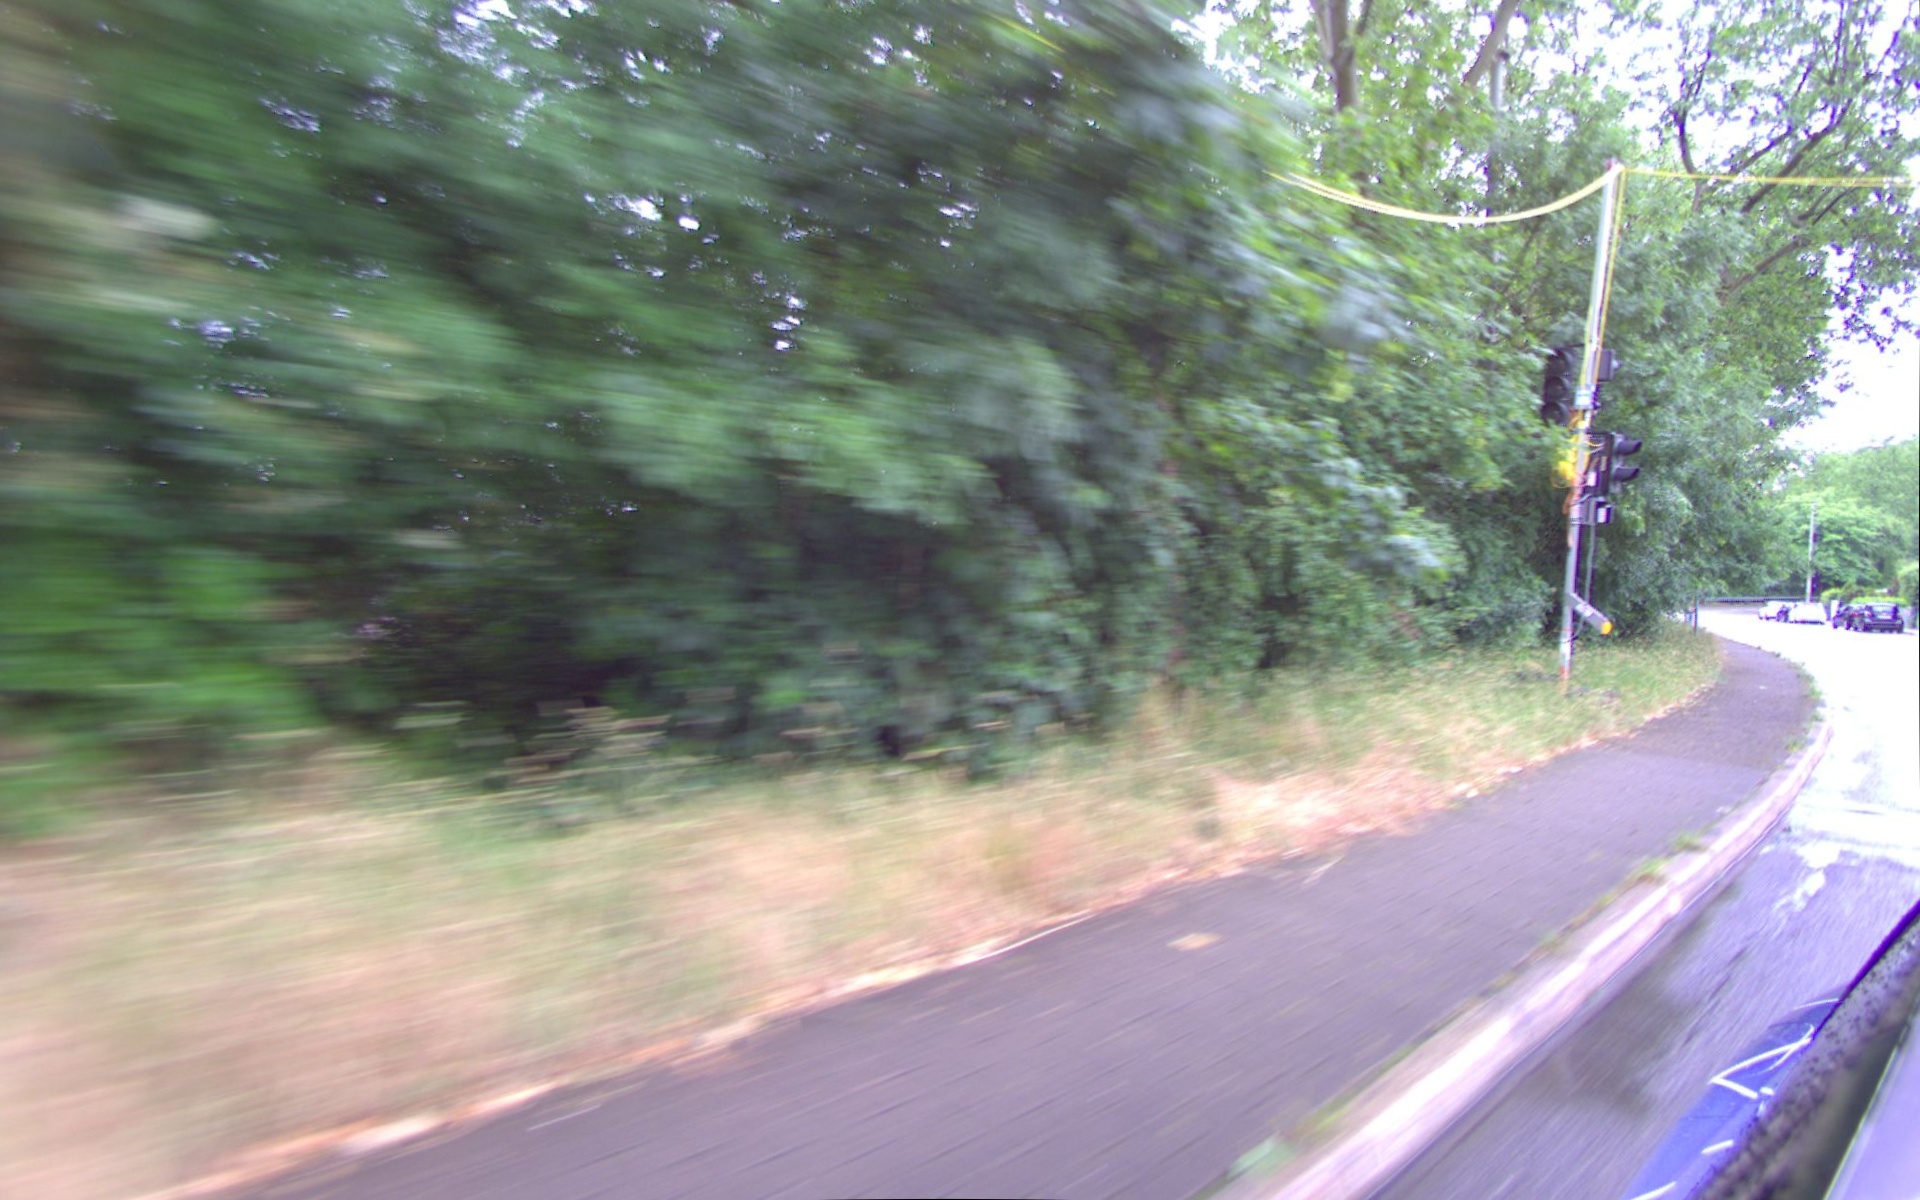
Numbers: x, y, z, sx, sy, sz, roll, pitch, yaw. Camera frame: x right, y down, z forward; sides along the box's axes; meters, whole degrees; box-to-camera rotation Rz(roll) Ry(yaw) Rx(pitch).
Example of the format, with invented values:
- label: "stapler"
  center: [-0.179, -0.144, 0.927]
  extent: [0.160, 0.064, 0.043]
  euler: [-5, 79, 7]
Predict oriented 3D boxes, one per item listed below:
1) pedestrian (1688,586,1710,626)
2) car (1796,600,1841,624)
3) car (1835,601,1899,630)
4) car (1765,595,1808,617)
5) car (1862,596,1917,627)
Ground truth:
- label: "pedestrian"
  center: [30.774, 0.226, 42.145]
  extent: [0.639, 1.631, 0.663]
  euler: [2, 2, 31]
- label: "car"
  center: [58.610, 0.782, 69.145]
  extent: [1.689, 1.486, 3.671]
  euler: [2, 1, 30]
- label: "car"
  center: [50.648, 0.824, 56.584]
  extent: [1.679, 1.436, 4.172]
  euler: [3, 2, 29]
- label: "car"
  center: [63.585, 0.451, 77.901]
  extent: [1.722, 1.439, 4.242]
  euler: [-3, 1, 28]
- label: "car"
  center: [48.530, 0.590, 52.888]
  extent: [1.513, 1.472, 2.994]
  euler: [4, 2, 32]
